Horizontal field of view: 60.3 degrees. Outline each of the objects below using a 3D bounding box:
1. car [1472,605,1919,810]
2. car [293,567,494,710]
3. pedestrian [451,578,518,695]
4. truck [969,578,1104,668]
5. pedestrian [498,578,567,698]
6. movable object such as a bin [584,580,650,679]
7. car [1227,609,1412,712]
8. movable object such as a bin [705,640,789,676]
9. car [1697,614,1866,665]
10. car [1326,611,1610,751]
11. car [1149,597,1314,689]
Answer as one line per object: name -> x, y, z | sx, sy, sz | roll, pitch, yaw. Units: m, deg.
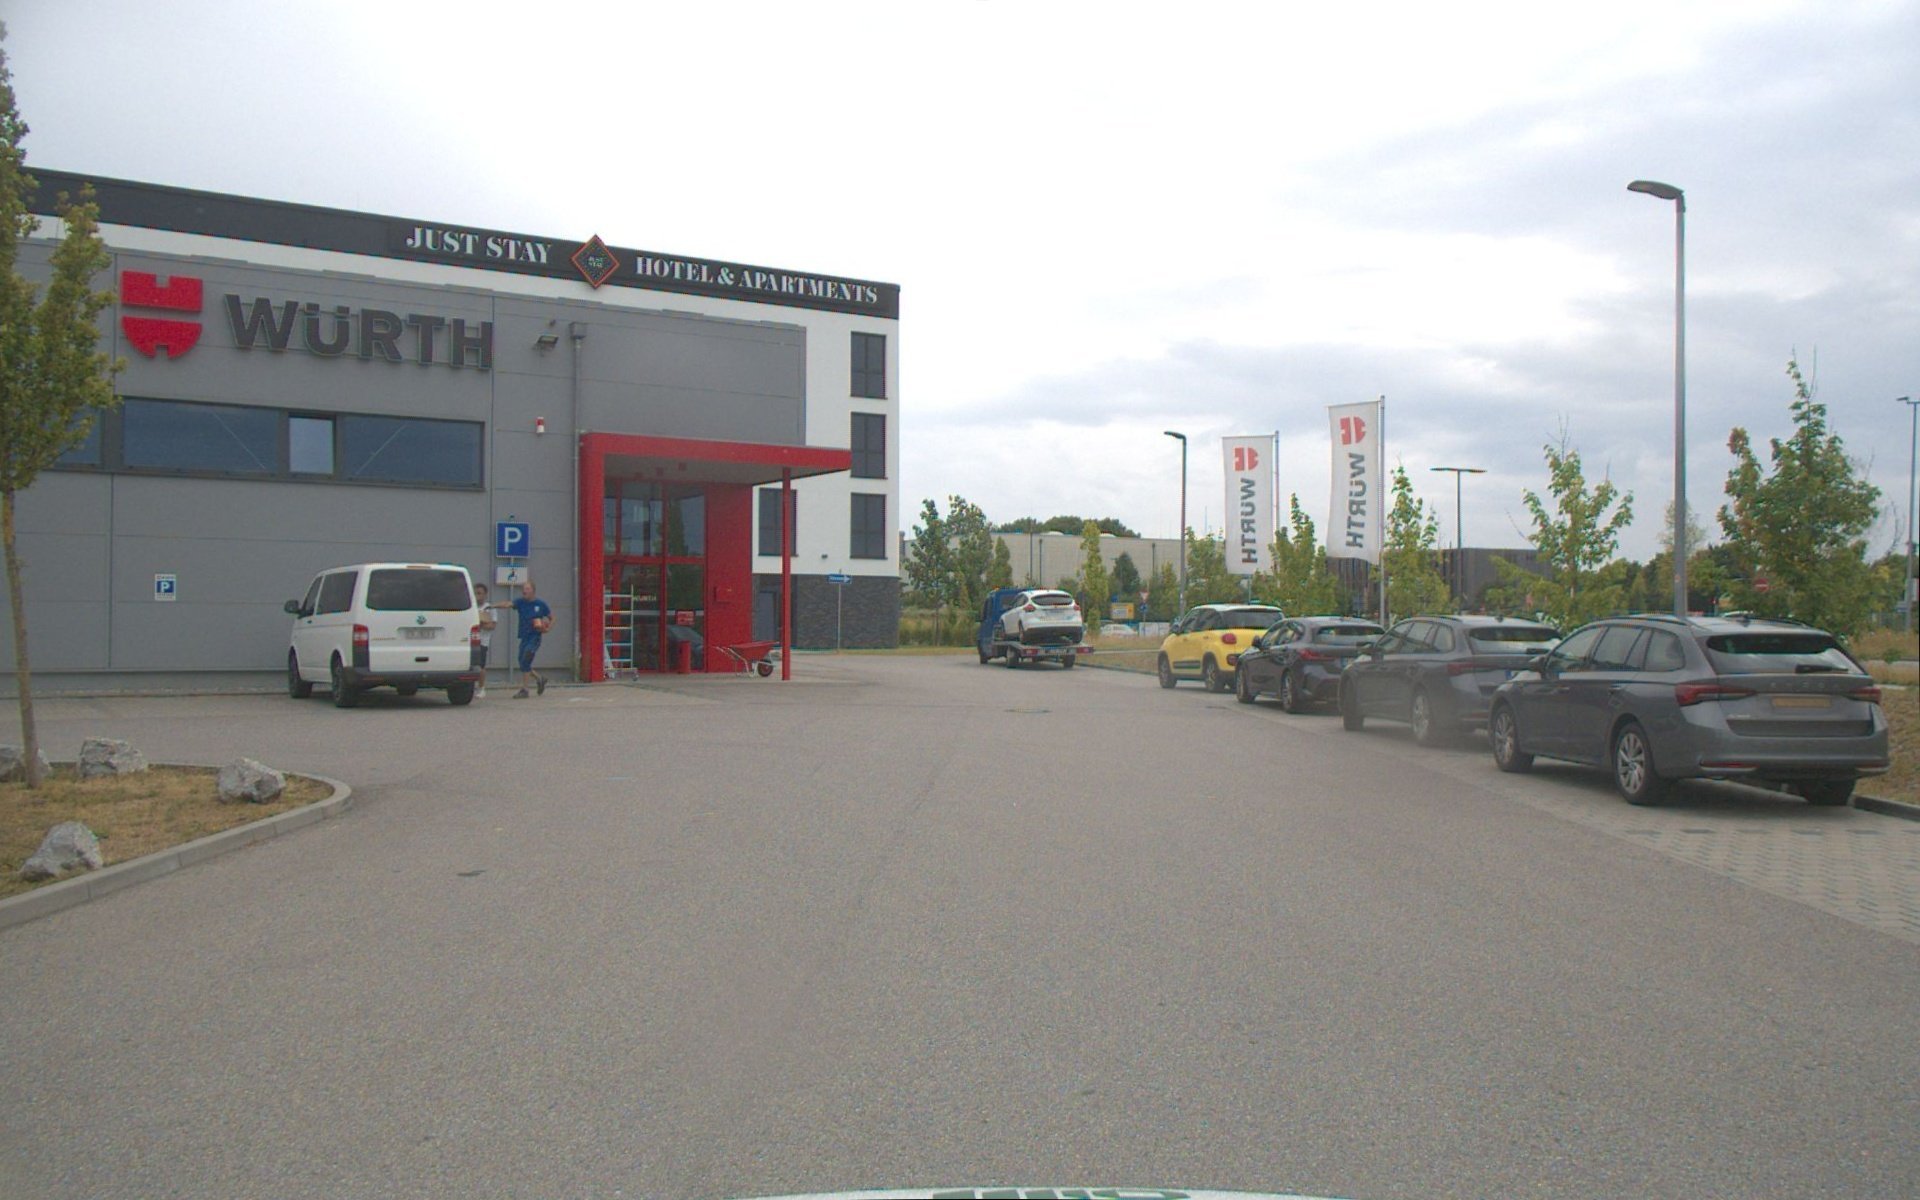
car -> 6.091, 0.807, 14.352 | 1.716, 1.495, 4.473 | 1, 0, -3
car -> -8.398, 0.532, 24.302 | 2.034, 1.888, 4.019 | -1, 0, -30
pedestrian -> -7.386, 0.557, 25.713 | 0.610, 1.782, 0.906 | 0, -1, 17
truck -> 2.130, 0.675, 49.141 | 2.289, 2.448, 7.876 | 0, -1, -10
pedestrian -> -6.673, 0.588, 25.842 | 0.662, 1.834, 0.880 | 0, -1, 18
movable object such as a bin -> -6.165, 0.520, 29.725 | 0.901, 1.701, 0.735 | -3, 1, -31
car -> 5.613, 0.908, 26.325 | 1.717, 1.495, 4.102 | 1, 0, -5
movable object such as a bin -> -4.314, 1.174, 33.543 | 1.469, 0.716, 0.957 | 1, -1, -26
car -> 23.993, 1.117, 48.500 | 1.736, 1.419, 4.532 | 0, 0, -19
car -> 5.958, 0.887, 20.008 | 1.717, 1.495, 4.470 | 1, 0, -5
car -> 5.296, 0.840, 32.778 | 1.825, 1.679, 3.986 | 2, -1, -13
